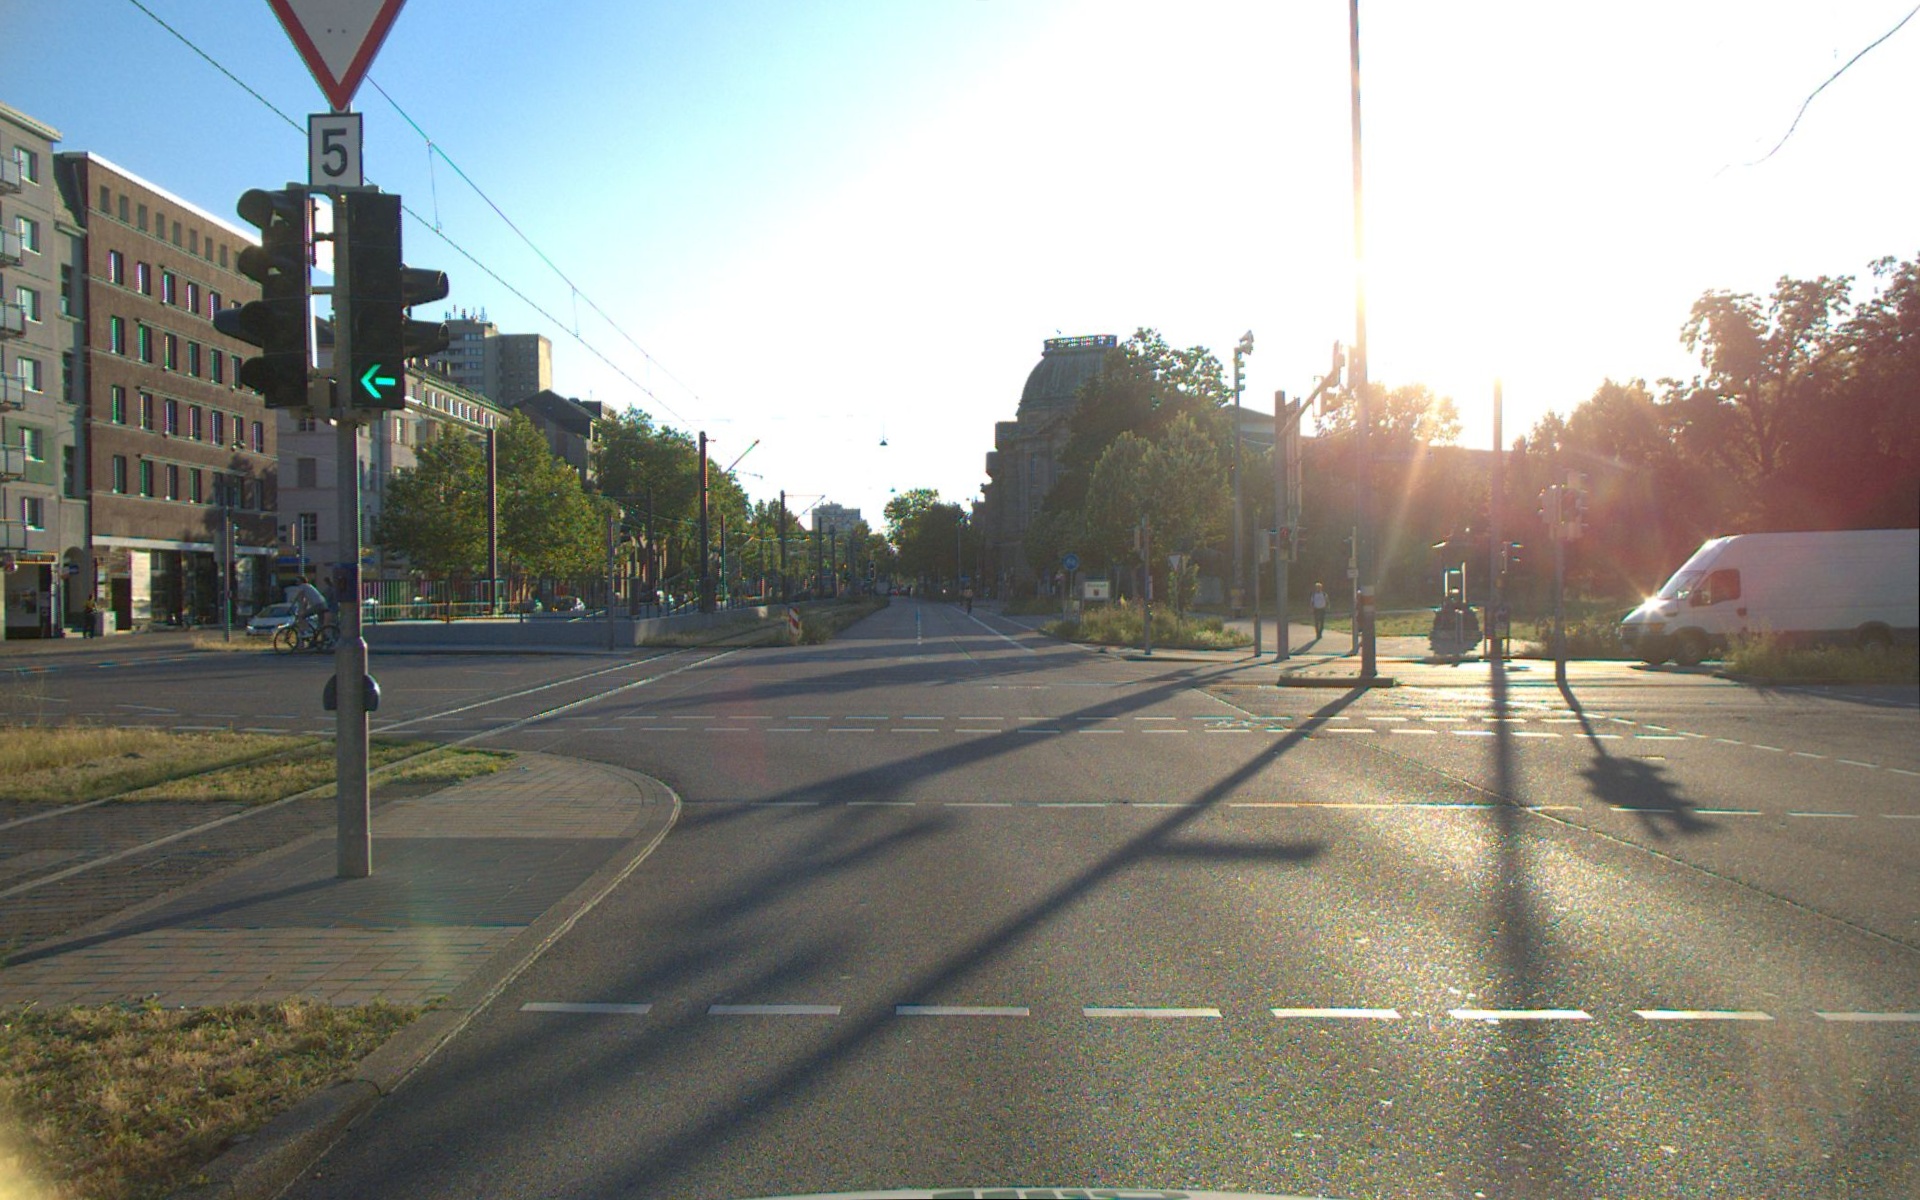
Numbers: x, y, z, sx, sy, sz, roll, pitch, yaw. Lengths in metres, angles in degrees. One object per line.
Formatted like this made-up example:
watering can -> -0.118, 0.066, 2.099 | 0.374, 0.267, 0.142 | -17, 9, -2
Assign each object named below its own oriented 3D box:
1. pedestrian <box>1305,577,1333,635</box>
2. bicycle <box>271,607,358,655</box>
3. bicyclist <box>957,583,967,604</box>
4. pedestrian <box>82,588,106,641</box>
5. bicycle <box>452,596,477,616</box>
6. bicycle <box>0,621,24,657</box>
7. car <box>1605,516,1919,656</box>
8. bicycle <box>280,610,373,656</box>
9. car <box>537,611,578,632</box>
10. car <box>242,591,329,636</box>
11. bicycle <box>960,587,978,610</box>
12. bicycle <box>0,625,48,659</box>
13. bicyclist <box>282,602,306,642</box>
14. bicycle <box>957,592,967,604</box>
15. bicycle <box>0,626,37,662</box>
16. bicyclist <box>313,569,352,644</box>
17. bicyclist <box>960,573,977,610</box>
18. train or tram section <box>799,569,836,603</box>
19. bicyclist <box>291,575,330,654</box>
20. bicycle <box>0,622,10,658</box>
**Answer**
pedestrian -> 11.525, 0.199, 53.124 | 0.815, 1.835, 0.811 | -1, 0, 14
bicycle -> -15.333, 0.731, 39.323 | 1.871, 1.094, 0.629 | -1, 0, -17
bicyclist -> 0.222, -0.602, 159.669 | 0.907, 2.049, 0.850 | 0, 0, -1
pedestrian -> -36.625, 0.610, 69.938 | 0.589, 2.216, 0.792 | -1, 0, -1
bicycle -> -31.794, 0.372, 106.217 | 0.796, 1.222, 2.413 | -1, 0, 2
bicycle -> -32.878, 1.330, 56.253 | 1.655, 1.199, 0.748 | -1, 0, 1
car -> 17.807, -0.309, 35.770 | 6.866, 2.877, 2.093 | -1, 0, 1
bicycle -> -15.827, 0.806, 41.349 | 2.130, 1.102, 0.536 | -1, 0, -18
car -> -28.684, 1.519, 118.057 | 1.781, 1.445, 4.002 | -1, 0, 3
car -> -26.265, 0.494, 64.494 | 1.654, 1.646, 4.000 | -2, 0, 1
bicycle -> 0.571, -0.078, 105.628 | 1.075, 1.423, 2.831 | -1, 0, -1
bicycle -> -32.883, 1.469, 57.761 | 1.655, 1.164, 0.697 | -1, 0, 1
bicyclist -> -30.026, 0.971, 74.577 | 0.686, 1.773, 0.792 | -1, 0, 10
bicycle -> 0.218, -0.176, 159.765 | 0.905, 1.131, 2.332 | -1, 0, -1
bicycle -> -32.862, 1.515, 57.028 | 1.655, 1.190, 0.748 | -1, 0, 1
bicyclist -> -15.702, 0.164, 41.389 | 0.862, 1.850, 0.535 | -1, 0, -18
bicyclist -> 0.562, -0.549, 105.584 | 1.060, 2.316, 0.986 | 0, 0, -1
train or tram section -> -17.490, -1.719, 203.099 | 4.301, 3.917, 11.398 | -1, 0, -5
bicyclist -> -15.430, 0.338, 39.292 | 0.780, 1.850, 0.643 | -1, 0, -17
bicycle -> -32.898, 1.354, 55.491 | 1.655, 1.173, 0.705 | -1, 0, 1
